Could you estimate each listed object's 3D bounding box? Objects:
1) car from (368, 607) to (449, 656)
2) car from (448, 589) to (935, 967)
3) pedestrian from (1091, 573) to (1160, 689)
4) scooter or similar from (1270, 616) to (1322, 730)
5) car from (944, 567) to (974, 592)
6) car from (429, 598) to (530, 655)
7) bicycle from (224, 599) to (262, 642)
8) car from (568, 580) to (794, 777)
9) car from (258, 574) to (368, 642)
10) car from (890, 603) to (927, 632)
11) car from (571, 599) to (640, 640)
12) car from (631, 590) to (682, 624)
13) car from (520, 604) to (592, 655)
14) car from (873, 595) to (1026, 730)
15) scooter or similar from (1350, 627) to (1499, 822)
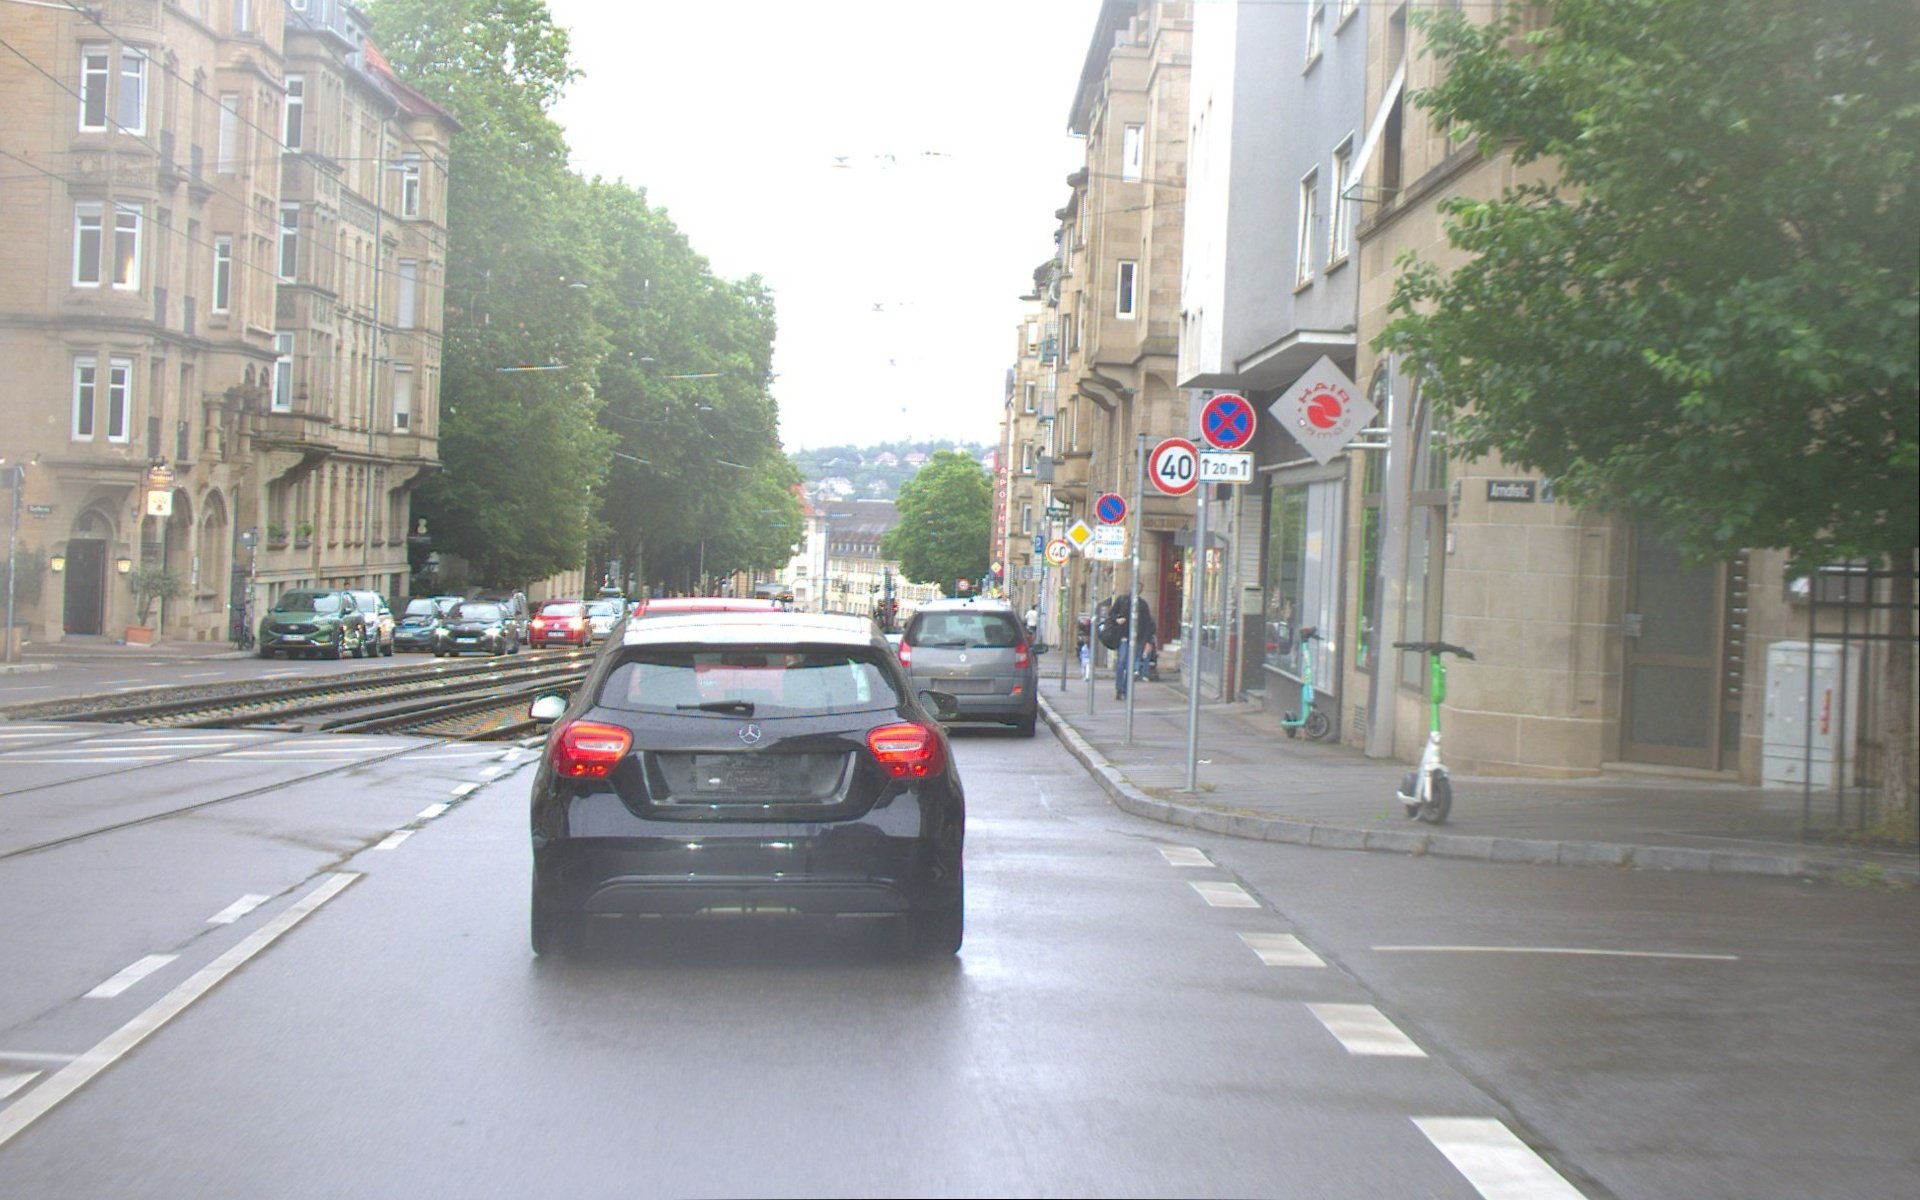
[{"bbox_3d":[-15.369,0.872,95.945,1.569,1.312,3.481,1,0,2],"label":"car"},{"bbox_3d":[-1.054,0.686,15.313,1.866,1.447,4.000,1,0,0],"label":"car"},{"bbox_3d":[2.571,0.472,53.420,0.945,1.763,1.015,1,0,-2],"label":"pedestrian"},{"bbox_3d":[3.701,0.796,37.871,0.395,1.212,1.107,1,0,-2],"label":"scooter or similar"},{"bbox_3d":[-0.073,-1.156,194.502,1.613,1.313,4.000,3,0,0],"label":"car"},{"bbox_3d":[-12.252,0.666,87.834,1.948,1.392,4.274,0,0,0],"label":"car"},{"bbox_3d":[-17.093,0.483,81.996,0.598,0.997,2.080,1,0,-4],"label":"bicycle"},{"bbox_3d":[-2.233,0.594,28.335,1.649,1.447,4.000,2,0,-2],"label":"car"},{"bbox_3d":[-15.189,0.196,80.831,1.722,1.536,3.933,1,0,2],"label":"car"},{"bbox_3d":[-2.375,0.814,159.149,1.613,1.313,4.000,1,0,0],"label":"car"},{"bbox_3d":[-12.041,0.652,116.905,1.806,1.356,4.763,1,0,0],"label":"car"},{"bbox_3d":[-12.762,0.294,144.700,1.695,1.384,3.481,1,0,2],"label":"car"},{"bbox_3d":[-12.404,0.895,105.705,1.680,1.492,3.518,1,0,2],"label":"car"},{"bbox_3d":[-0.129,0.740,42.705,1.765,1.553,4.745,1,0,0],"label":"car"},{"bbox_3d":[3.028,0.794,22.507,0.638,1.206,1.553,1,0,-4],"label":"scooter or similar"}]
